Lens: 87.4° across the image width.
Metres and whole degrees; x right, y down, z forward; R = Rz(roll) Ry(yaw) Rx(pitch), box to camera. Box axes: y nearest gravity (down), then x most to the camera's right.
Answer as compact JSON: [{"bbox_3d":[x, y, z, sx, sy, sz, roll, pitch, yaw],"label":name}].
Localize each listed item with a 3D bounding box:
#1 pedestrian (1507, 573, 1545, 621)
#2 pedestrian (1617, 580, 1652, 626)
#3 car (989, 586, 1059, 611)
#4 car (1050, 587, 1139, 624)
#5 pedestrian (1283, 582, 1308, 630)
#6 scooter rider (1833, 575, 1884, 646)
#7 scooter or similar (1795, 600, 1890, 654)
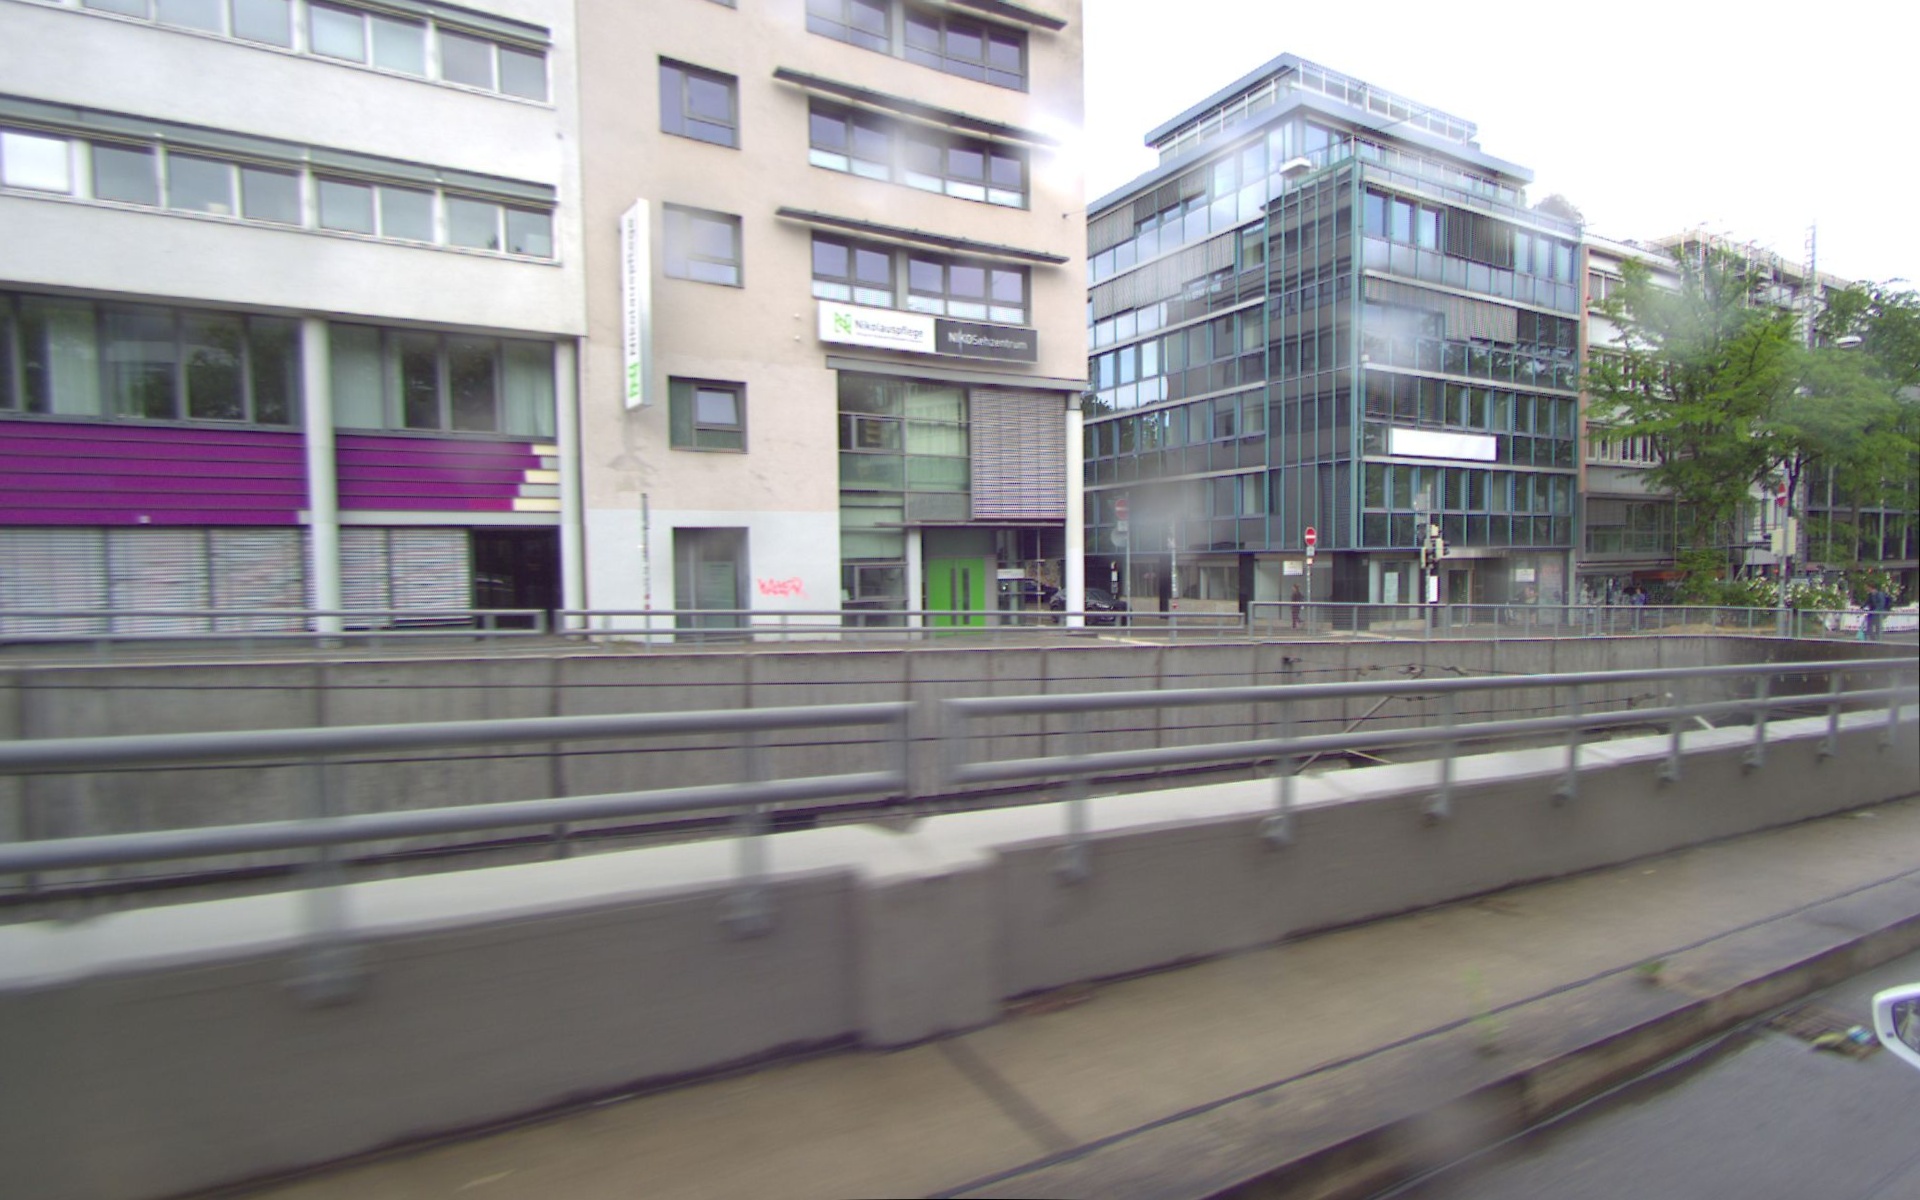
[{"bbox_3d":[22.719,-0.113,40.336,0.943,1.893,0.865,1,2,-11],"label":"pedestrian"},{"bbox_3d":[28.435,0.127,42.373,0.856,1.893,0.873,0,3,-30],"label":"pedestrian"},{"bbox_3d":[3.875,-0.087,60.512,3.846,1.445,1.799,0,1,-27],"label":"car"},{"bbox_3d":[5.570,0.189,42.129,1.788,1.445,3.868,0,1,-28],"label":"car"},{"bbox_3d":[12.025,0.201,36.005,0.482,1.694,0.661,0,1,-31],"label":"pedestrian"},{"bbox_3d":[25.452,0.279,28.461,0.802,1.974,0.815,0,2,-31],"label":"scooter rider"},{"bbox_3d":[25.224,0.738,28.752,0.542,1.438,1.937,0,2,-32],"label":"scooter or similar"}]
